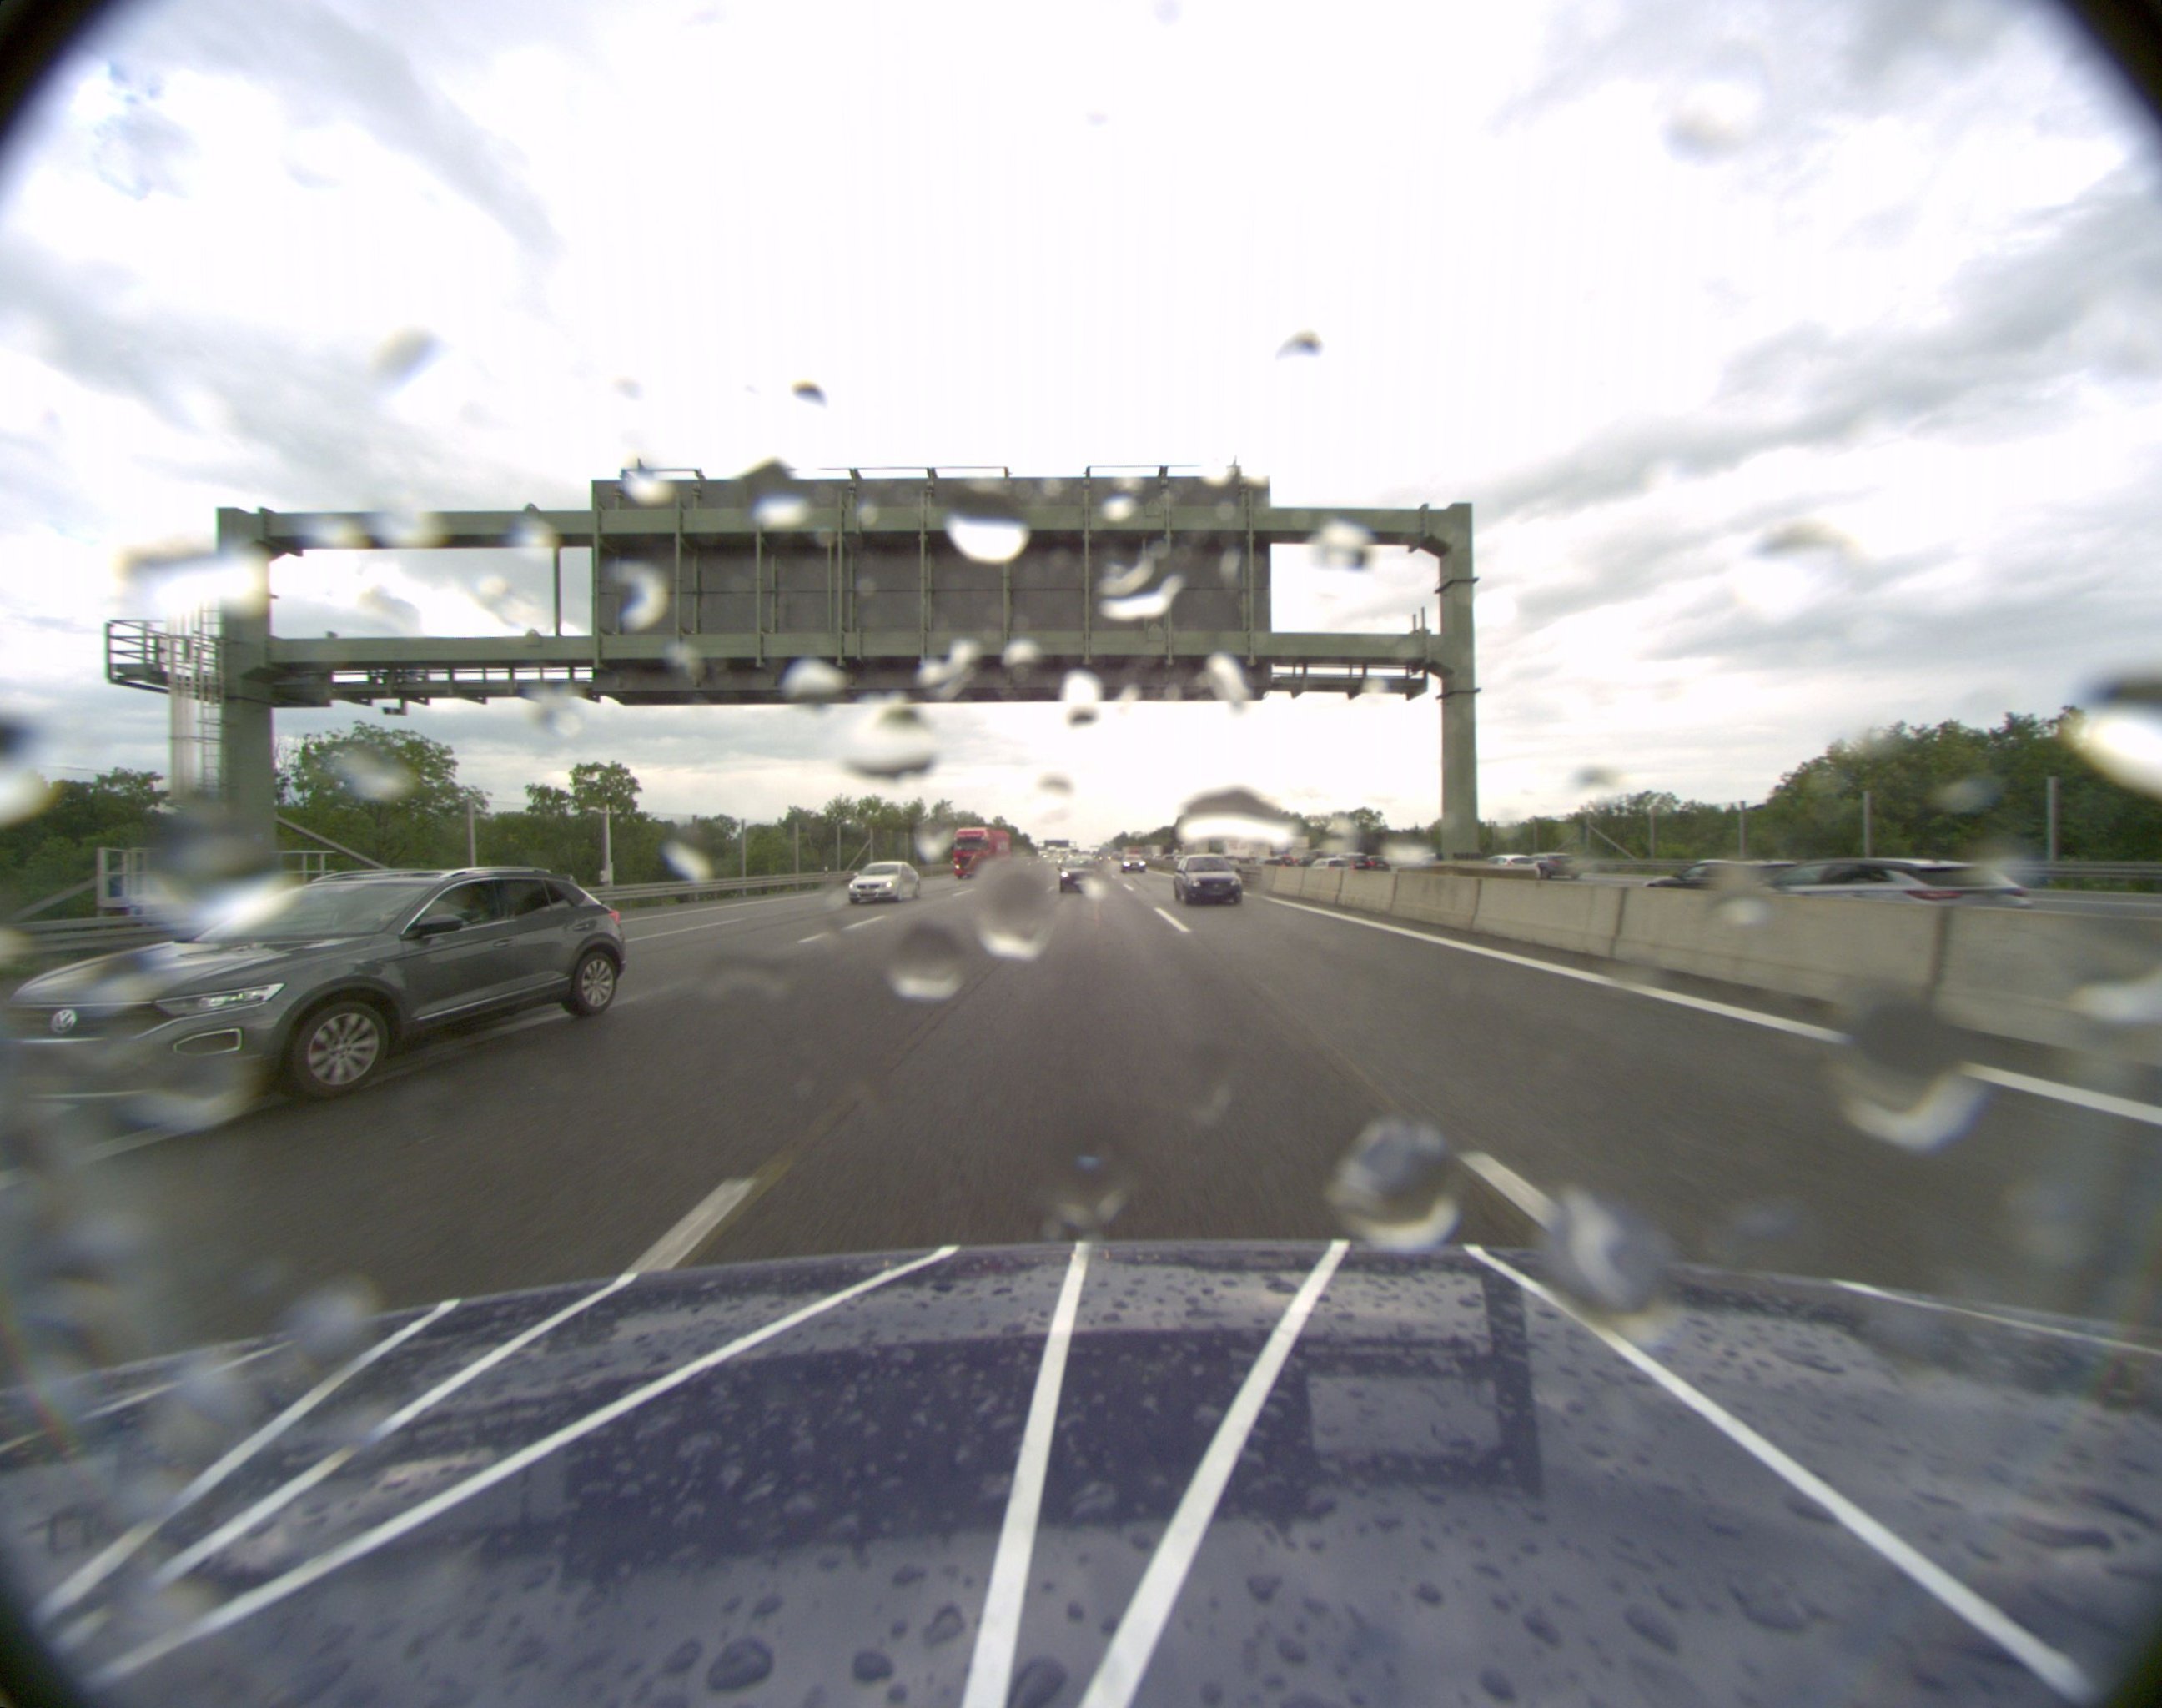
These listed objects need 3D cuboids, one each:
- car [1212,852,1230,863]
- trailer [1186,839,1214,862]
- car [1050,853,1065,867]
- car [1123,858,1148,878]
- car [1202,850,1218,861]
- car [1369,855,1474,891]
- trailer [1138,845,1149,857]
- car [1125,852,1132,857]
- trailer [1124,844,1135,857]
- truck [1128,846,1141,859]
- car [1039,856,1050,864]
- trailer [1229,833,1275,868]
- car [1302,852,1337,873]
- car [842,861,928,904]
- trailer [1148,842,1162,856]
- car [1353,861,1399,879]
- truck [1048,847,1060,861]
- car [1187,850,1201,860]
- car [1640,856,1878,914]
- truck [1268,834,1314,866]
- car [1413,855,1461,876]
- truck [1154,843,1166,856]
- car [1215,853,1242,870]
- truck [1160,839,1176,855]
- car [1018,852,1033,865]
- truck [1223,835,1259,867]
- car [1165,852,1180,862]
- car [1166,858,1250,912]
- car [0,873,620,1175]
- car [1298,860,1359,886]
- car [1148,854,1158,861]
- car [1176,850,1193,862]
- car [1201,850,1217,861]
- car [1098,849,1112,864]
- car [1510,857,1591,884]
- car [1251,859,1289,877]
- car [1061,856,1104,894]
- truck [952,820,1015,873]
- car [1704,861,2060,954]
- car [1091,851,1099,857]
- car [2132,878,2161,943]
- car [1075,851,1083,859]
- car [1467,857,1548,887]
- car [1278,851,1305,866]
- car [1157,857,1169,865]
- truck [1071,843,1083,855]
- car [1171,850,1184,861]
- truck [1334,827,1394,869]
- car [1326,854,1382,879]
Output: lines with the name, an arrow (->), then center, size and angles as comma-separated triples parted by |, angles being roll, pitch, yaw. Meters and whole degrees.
car -> 18.434, 0.454, 100.178 | 1.649, 1.399, 4.543 | -1, 0, 1
trailer -> 22.282, -0.608, 143.012 | 3.252, 3.910, 13.015 | -2, 0, 0
car -> -3.273, 0.776, 105.642 | 1.962, 1.831, 3.999 | -1, 0, -1
car -> 4.420, 1.118, 61.799 | 1.751, 1.489, 4.015 | -2, 0, 1
car -> 21.856, 0.266, 128.434 | 1.973, 1.737, 4.575 | -1, 0, 1
car -> 14.283, 0.761, 32.284 | 2.084, 1.349, 5.256 | -1, 0, 0
trailer -> 22.018, -1.101, 267.290 | 2.888, 4.121, 13.028 | -1, 0, 1
car -> 14.309, 0.101, 228.712 | 1.836, 1.443, 4.000 | -1, 0, 0
trailer -> 16.883, -1.172, 264.961 | 2.888, 4.121, 13.026 | -1, 0, -1
truck -> 17.232, -0.456, 244.567 | 2.992, 4.124, 12.520 | -1, 0, -1
car -> -6.451, 1.035, 134.028 | 1.782, 1.438, 4.587 | -2, 0, -2
trailer -> 21.970, -0.417, 98.352 | 3.195, 4.169, 11.956 | -1, 0, 0
car -> 21.434, 0.756, 68.430 | 1.587, 1.879, 4.820 | -1, 0, 0
car -> -7.182, 1.000, 28.269 | 1.898, 1.438, 4.246 | -2, 0, 2
trailer -> 21.153, -1.397, 217.724 | 2.825, 4.037, 11.602 | -2, 0, 0
car -> 21.764, 1.167, 56.178 | 1.587, 1.274, 4.602 | -1, 0, 0
truck -> -8.308, -0.023, 231.422 | 3.256, 3.884, 12.309 | -2, 0, -4
car -> 18.894, 0.148, 127.019 | 1.649, 1.501, 4.860 | -1, 0, 1
car -> 17.837, 0.750, 20.433 | 1.803, 1.349, 5.129 | -1, 0, 0
truck -> 26.601, -0.445, 96.779 | 2.906, 3.817, 10.757 | -1, 0, 1
car -> 25.965, 0.831, 55.498 | 1.587, 1.418, 4.003 | -1, 0, 0
truck -> 24.511, -1.468, 236.558 | 2.727, 3.958, 11.693 | -1, 0, 0
car -> 14.949, 0.788, 77.271 | 1.877, 1.638, 4.722 | -1, 0, 0
truck -> 18.469, -1.427, 161.346 | 2.526, 3.379, 8.540 | -1, 0, 0
car -> -7.242, 0.597, 99.458 | 1.820, 1.534, 4.357 | -2, 0, -2
truck -> 21.937, -0.363, 104.528 | 3.186, 4.169, 7.737 | -1, 0, 0
car -> 14.535, 0.460, 120.692 | 1.797, 1.609, 4.283 | -1, 0, 1
car -> 3.700, 0.861, 23.027 | 1.781, 1.399, 5.017 | -2, 0, 1
car -> -5.855, 1.017, 6.119 | 1.796, 1.553, 3.722 | -2, 0, 3
car -> 14.053, 1.057, 43.456 | 1.894, 1.332, 4.945 | -1, 0, 0
car -> 14.443, 0.740, 152.875 | 1.724, 1.346, 4.534 | -1, 0, 0
car -> 14.508, 0.317, 106.790 | 1.797, 1.609, 4.000 | -1, 0, 1
car -> 19.272, 0.233, 114.179 | 1.649, 1.494, 4.676 | -1, 0, 1
car -> 3.935, 0.475, 125.225 | 1.999, 2.354, 4.171 | -2, 0, -1
car -> 25.871, 0.884, 42.023 | 1.766, 1.418, 4.342 | -1, 0, 0
car -> 13.927, 1.023, 56.124 | 1.707, 1.281, 4.187 | -1, 0, 0
car -> 0.130, 0.830, 32.105 | 1.668, 1.431, 4.405 | -2, 0, 2
truck -> -8.092, -0.525, 65.519 | 3.160, 3.980, 15.637 | -2, 0, 1
car -> 14.184, 0.847, 13.947 | 1.707, 1.383, 4.505 | -1, 0, -1
car -> 3.995, -0.072, 218.248 | 2.037, 1.596, 3.999 | -1, 0, -2
car -> 21.914, 1.077, 12.959 | 1.707, 1.253, 4.503 | -1, 0, -1
car -> -0.595, 0.303, 211.938 | 1.999, 2.002, 3.507 | -2, 0, -2
car -> 21.565, 0.874, 38.653 | 1.625, 1.438, 4.416 | -1, 0, 0
car -> 21.983, 0.493, 79.510 | 1.649, 1.554, 4.105 | -1, 0, 1
car -> 14.938, 1.229, 139.351 | 1.724, 1.346, 4.625 | -1, 0, 0
truck -> -1.375, -1.759, 266.220 | 2.959, 3.777, 12.322 | -2, 0, -5
car -> 18.542, 0.216, 146.710 | 1.826, 2.040, 5.675 | -1, 0, 0
truck -> 25.427, -0.468, 68.768 | 2.470, 3.516, 7.807 | -1, 0, 0
car -> 18.321, 0.830, 51.229 | 1.887, 1.589, 5.135 | -1, 0, 0
